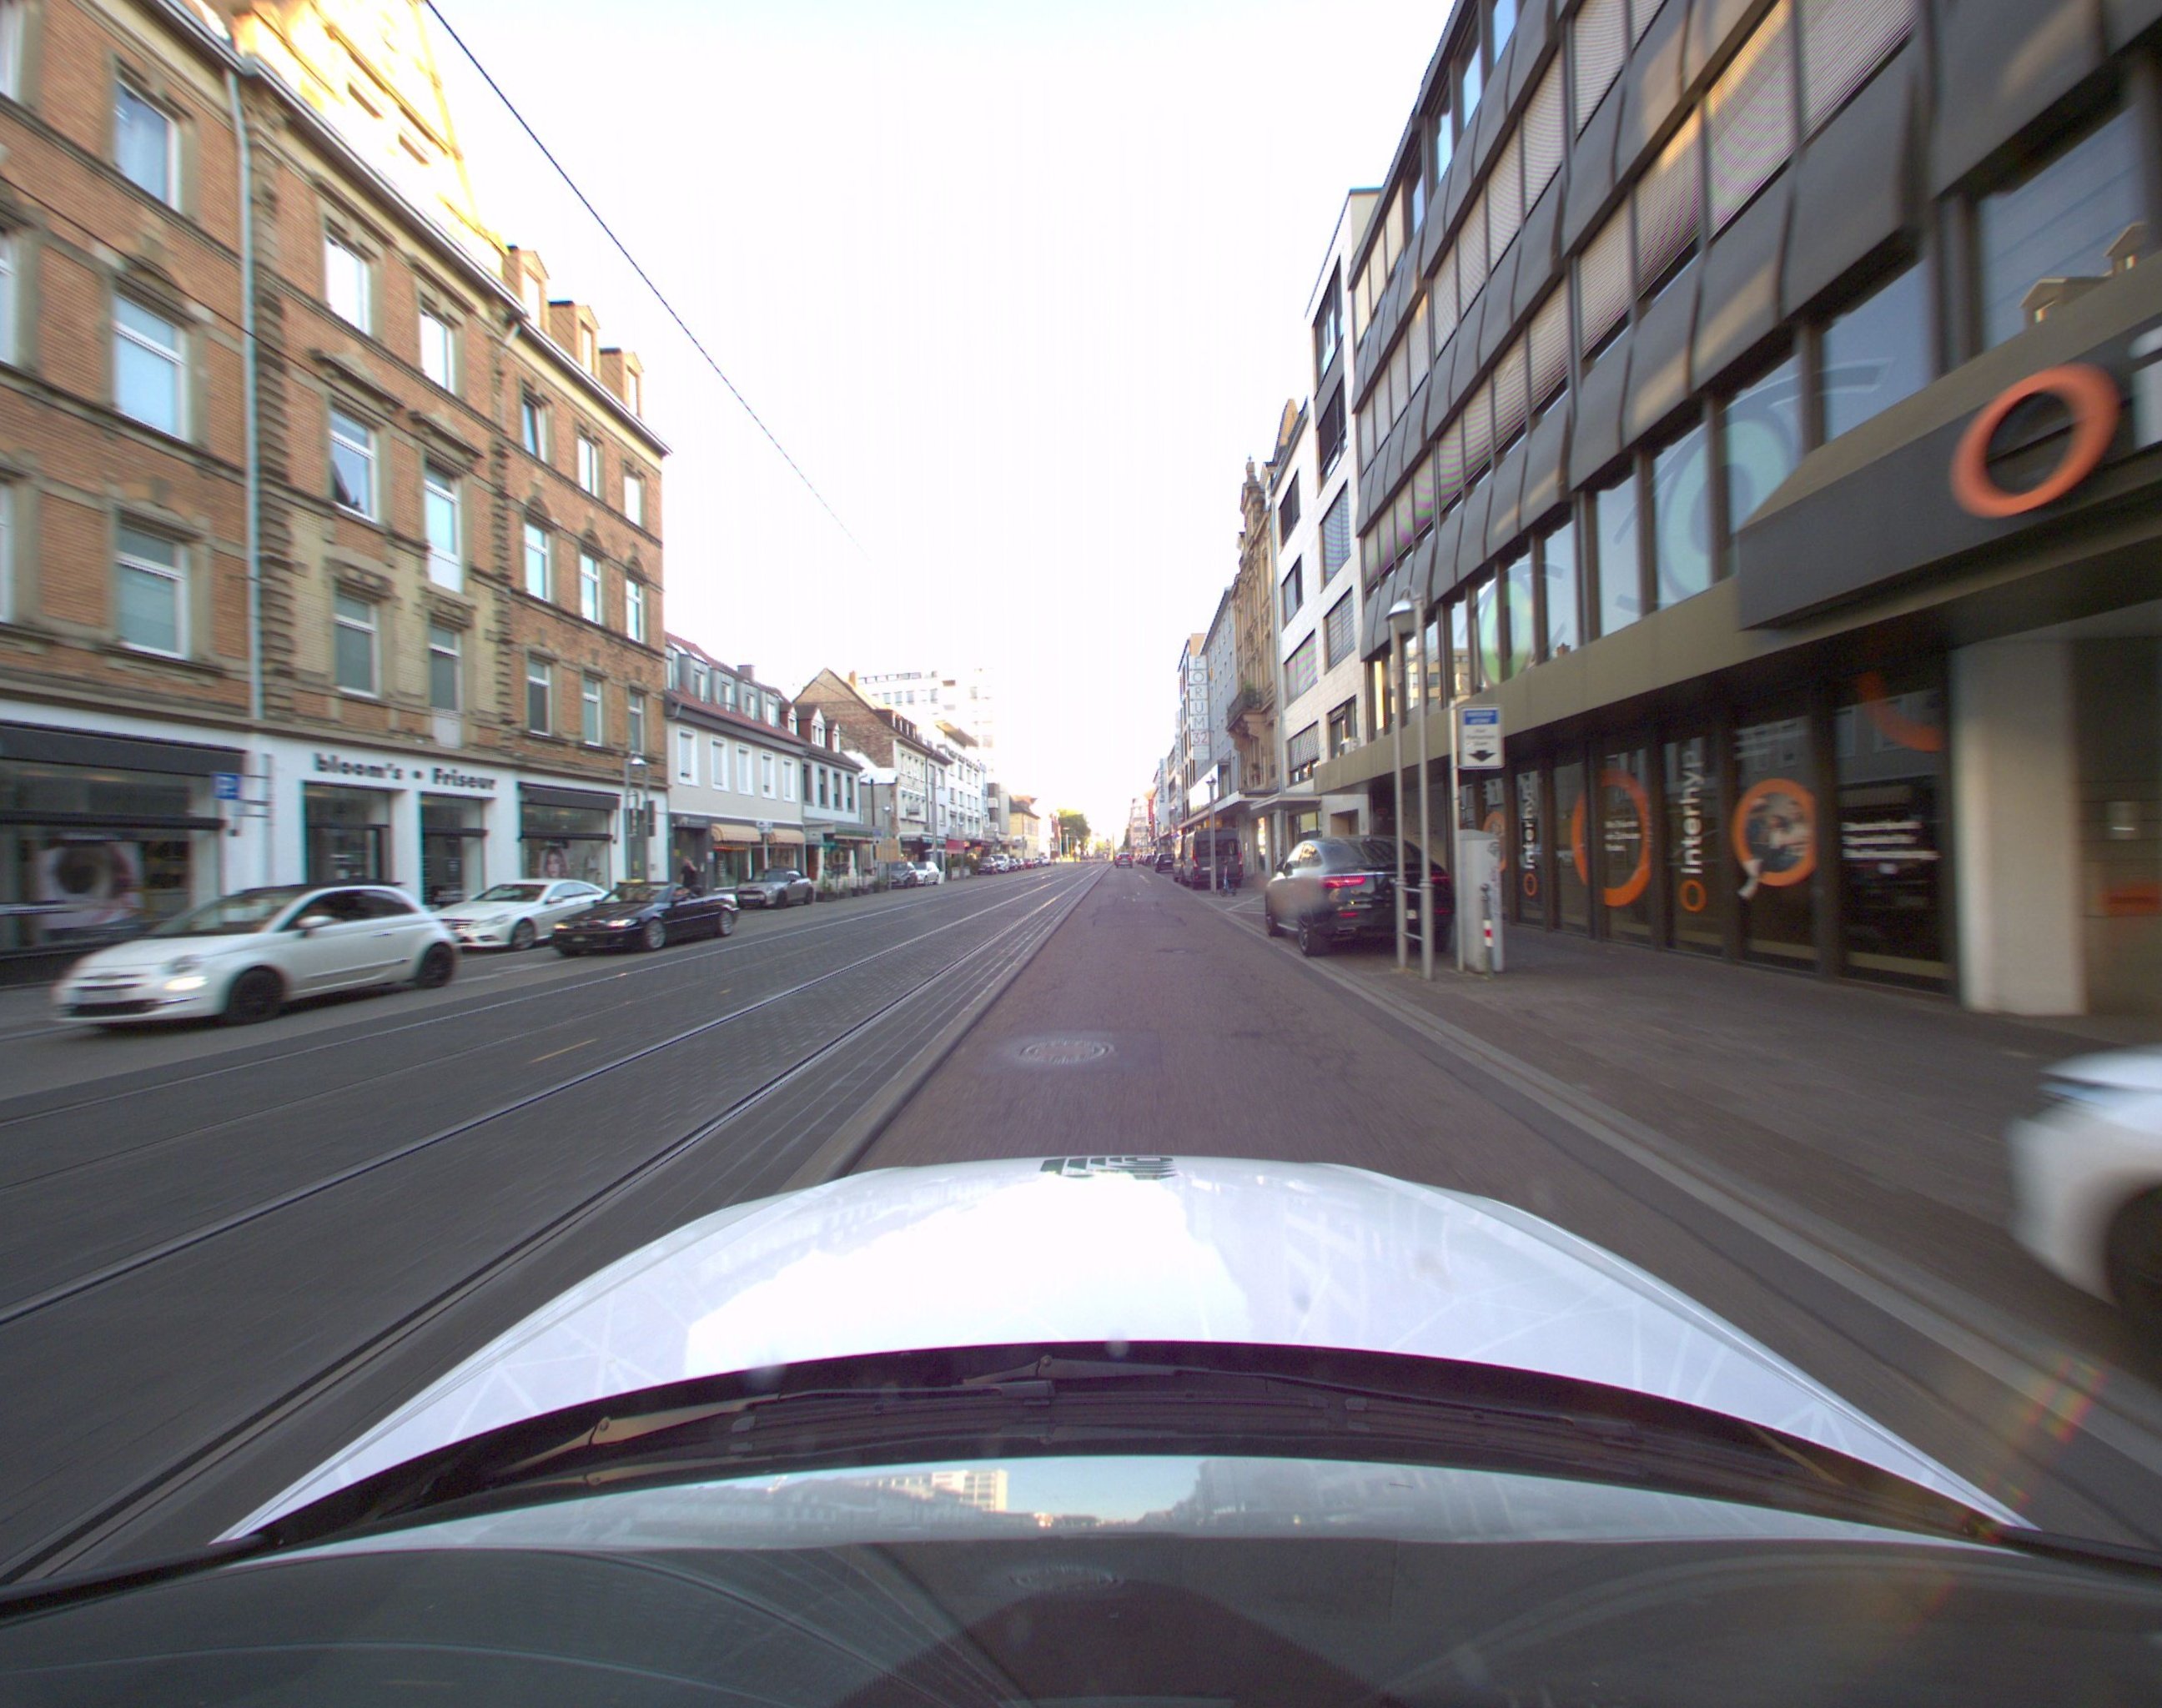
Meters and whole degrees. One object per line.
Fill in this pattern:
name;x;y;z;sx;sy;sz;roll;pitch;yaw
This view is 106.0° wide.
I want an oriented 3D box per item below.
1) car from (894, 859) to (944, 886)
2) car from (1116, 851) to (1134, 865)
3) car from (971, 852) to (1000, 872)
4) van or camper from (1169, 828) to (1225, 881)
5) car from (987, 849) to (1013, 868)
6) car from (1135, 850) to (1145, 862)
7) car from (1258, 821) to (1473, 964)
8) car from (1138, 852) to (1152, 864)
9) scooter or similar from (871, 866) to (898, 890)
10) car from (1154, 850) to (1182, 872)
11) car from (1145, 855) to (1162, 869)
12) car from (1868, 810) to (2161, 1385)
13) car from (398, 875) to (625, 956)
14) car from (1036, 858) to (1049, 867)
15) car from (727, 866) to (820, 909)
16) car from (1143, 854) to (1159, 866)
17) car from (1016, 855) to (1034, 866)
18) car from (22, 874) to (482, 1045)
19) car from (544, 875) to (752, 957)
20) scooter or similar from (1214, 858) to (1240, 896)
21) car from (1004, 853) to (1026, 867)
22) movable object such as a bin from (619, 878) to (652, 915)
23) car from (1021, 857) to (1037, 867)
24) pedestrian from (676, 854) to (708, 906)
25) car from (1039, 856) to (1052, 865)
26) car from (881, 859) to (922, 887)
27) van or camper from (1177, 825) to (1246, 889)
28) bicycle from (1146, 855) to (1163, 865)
car;-9.948;1.106;50.452;1.841;1.504;4.846;1;0;3
car;5.084;0.441;93.493;1.935;1.545;4.549;-1;0;4
car;-9.004;0.739;77.267;1.909;1.763;4.433;1;0;3
van or camper;5.969;0.047;42.537;2.180;2.426;5.520;-4;0;2
car;-8.417;0.493;85.051;1.909;1.936;4.846;1;0;3
car;11.836;0.348;163.356;1.935;2.145;4.549;-4;0;4
car;4.226;0.507;13.001;1.975;1.734;4.675;-4;0;4
car;9.840;0.567;124.882;1.935;1.703;4.549;-4;0;4
scooter or similar;-10.303;1.260;42.662;1.308;1.205;0.294;0;0;3
car;6.935;0.544;65.361;1.935;1.545;4.549;-4;0;4
car;9.136;0.964;103.368;1.935;1.545;4.549;-4;0;4
car;3.607;0.592;0.899;1.759;1.485;3.875;-4;0;3
car;-11.856;1.202;17.374;1.753;1.389;4.274;1;0;1
car;-6.008;1.298;127.518;1.784;1.449;3.894;1;0;2
car;-11.187;1.183;29.893;1.726;1.389;3.868;1;0;4
car;9.404;0.789;109.195;1.935;1.545;4.549;-4;0;4
car;-6.834;0.761;99.245;1.784;1.339;3.894;1;0;2
car;-9.614;1.094;9.943;1.660;1.505;3.683;-4;0;3
car;-8.465;1.149;16.419;1.660;1.228;4.276;-4;0;3
scooter or similar;5.086;0.786;28.328;0.350;1.224;1.123;-4;-1;35
car;-7.460;0.706;92.966;1.910;1.521;4.632;1;0;2
movable object such as a bin;-14.197;1.354;25.992;0.587;1.131;0.729;-2;0;3
car;-6.897;1.071;108.867;1.784;1.339;3.894;1;0;2
pedestrian;-13.444;0.881;28.134;0.645;1.772;0.856;0;0;3
car;-5.789;1.050;133.544;1.784;1.449;3.894;1;0;2
car;-10.090;1.064;45.930;1.585;1.504;2.814;1;0;2
van or camper;5.641;0.124;36.073;2.180;2.426;6.136;-4;0;3
bicycle;8.997;0.730;99.658;2.112;1.090;0.591;-2;0;0
